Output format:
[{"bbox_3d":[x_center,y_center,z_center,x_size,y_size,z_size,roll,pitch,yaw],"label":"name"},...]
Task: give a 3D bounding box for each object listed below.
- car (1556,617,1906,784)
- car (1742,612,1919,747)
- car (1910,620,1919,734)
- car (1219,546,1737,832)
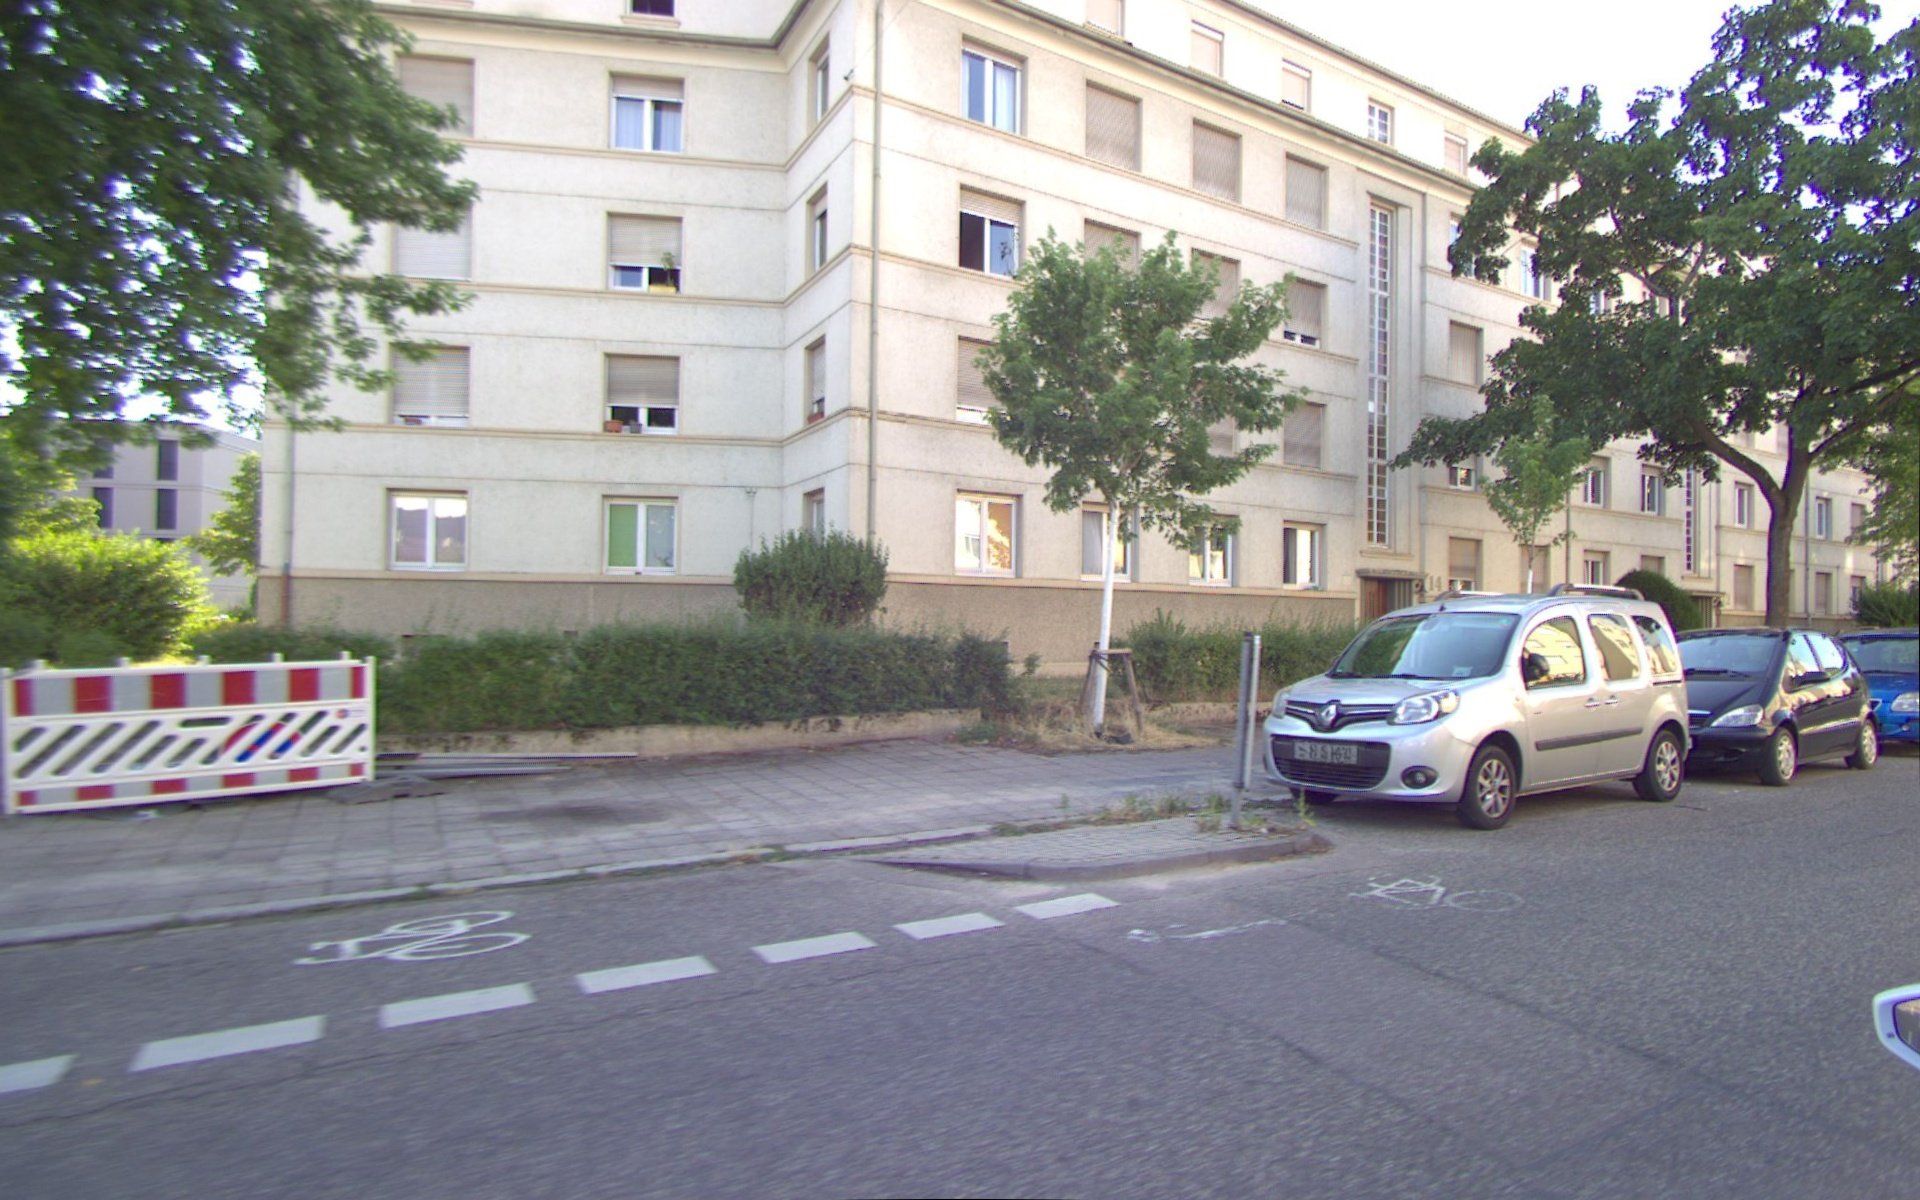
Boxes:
[{"bbox_3d":[8.725,1.067,11.311,3.956,1.572,1.863,3,-4,-32],"label":"car"},{"bbox_3d":[12.900,1.052,14.019,3.956,1.572,1.863,3,0,-32],"label":"car"},{"bbox_3d":[17.440,1.263,16.281,4.638,1.782,1.863,3,-3,-32],"label":"car"},{"bbox_3d":[4.535,0.740,8.681,4.433,1.921,1.834,3,-4,-29],"label":"car"}]
